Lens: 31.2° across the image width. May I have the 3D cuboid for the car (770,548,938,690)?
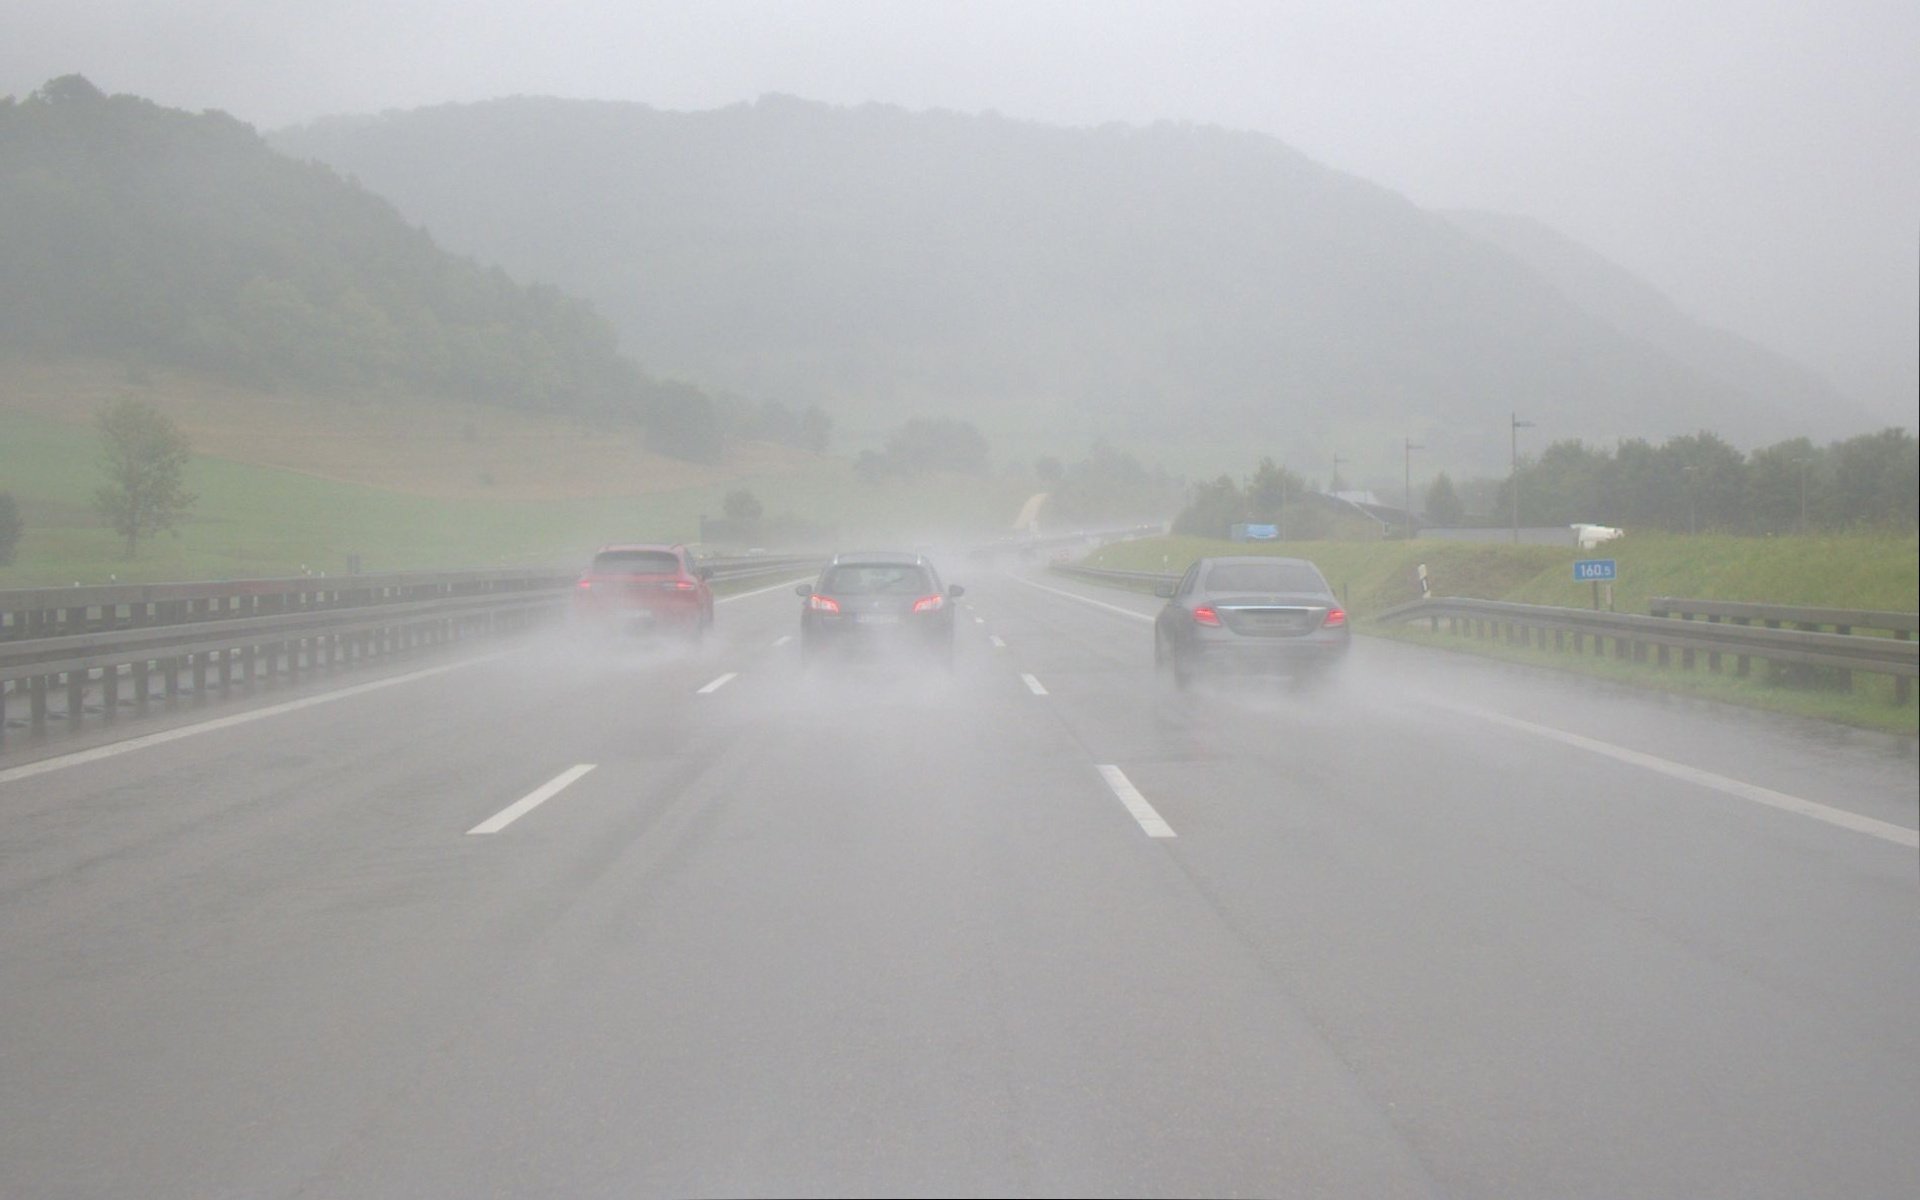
[{"bbox_3d":[-1.217,0.191,40.998,1.859,1.584,4.000,1,1,0],"label":"car"}]

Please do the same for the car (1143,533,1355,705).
[{"bbox_3d":[3.107,0.159,37.710,1.971,1.754,4.000,-1,1,0],"label":"car"}]

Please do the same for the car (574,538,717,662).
[{"bbox_3d":[-4.785,-0.040,52.710,1.884,1.809,4.000,0,1,-1],"label":"car"}]
